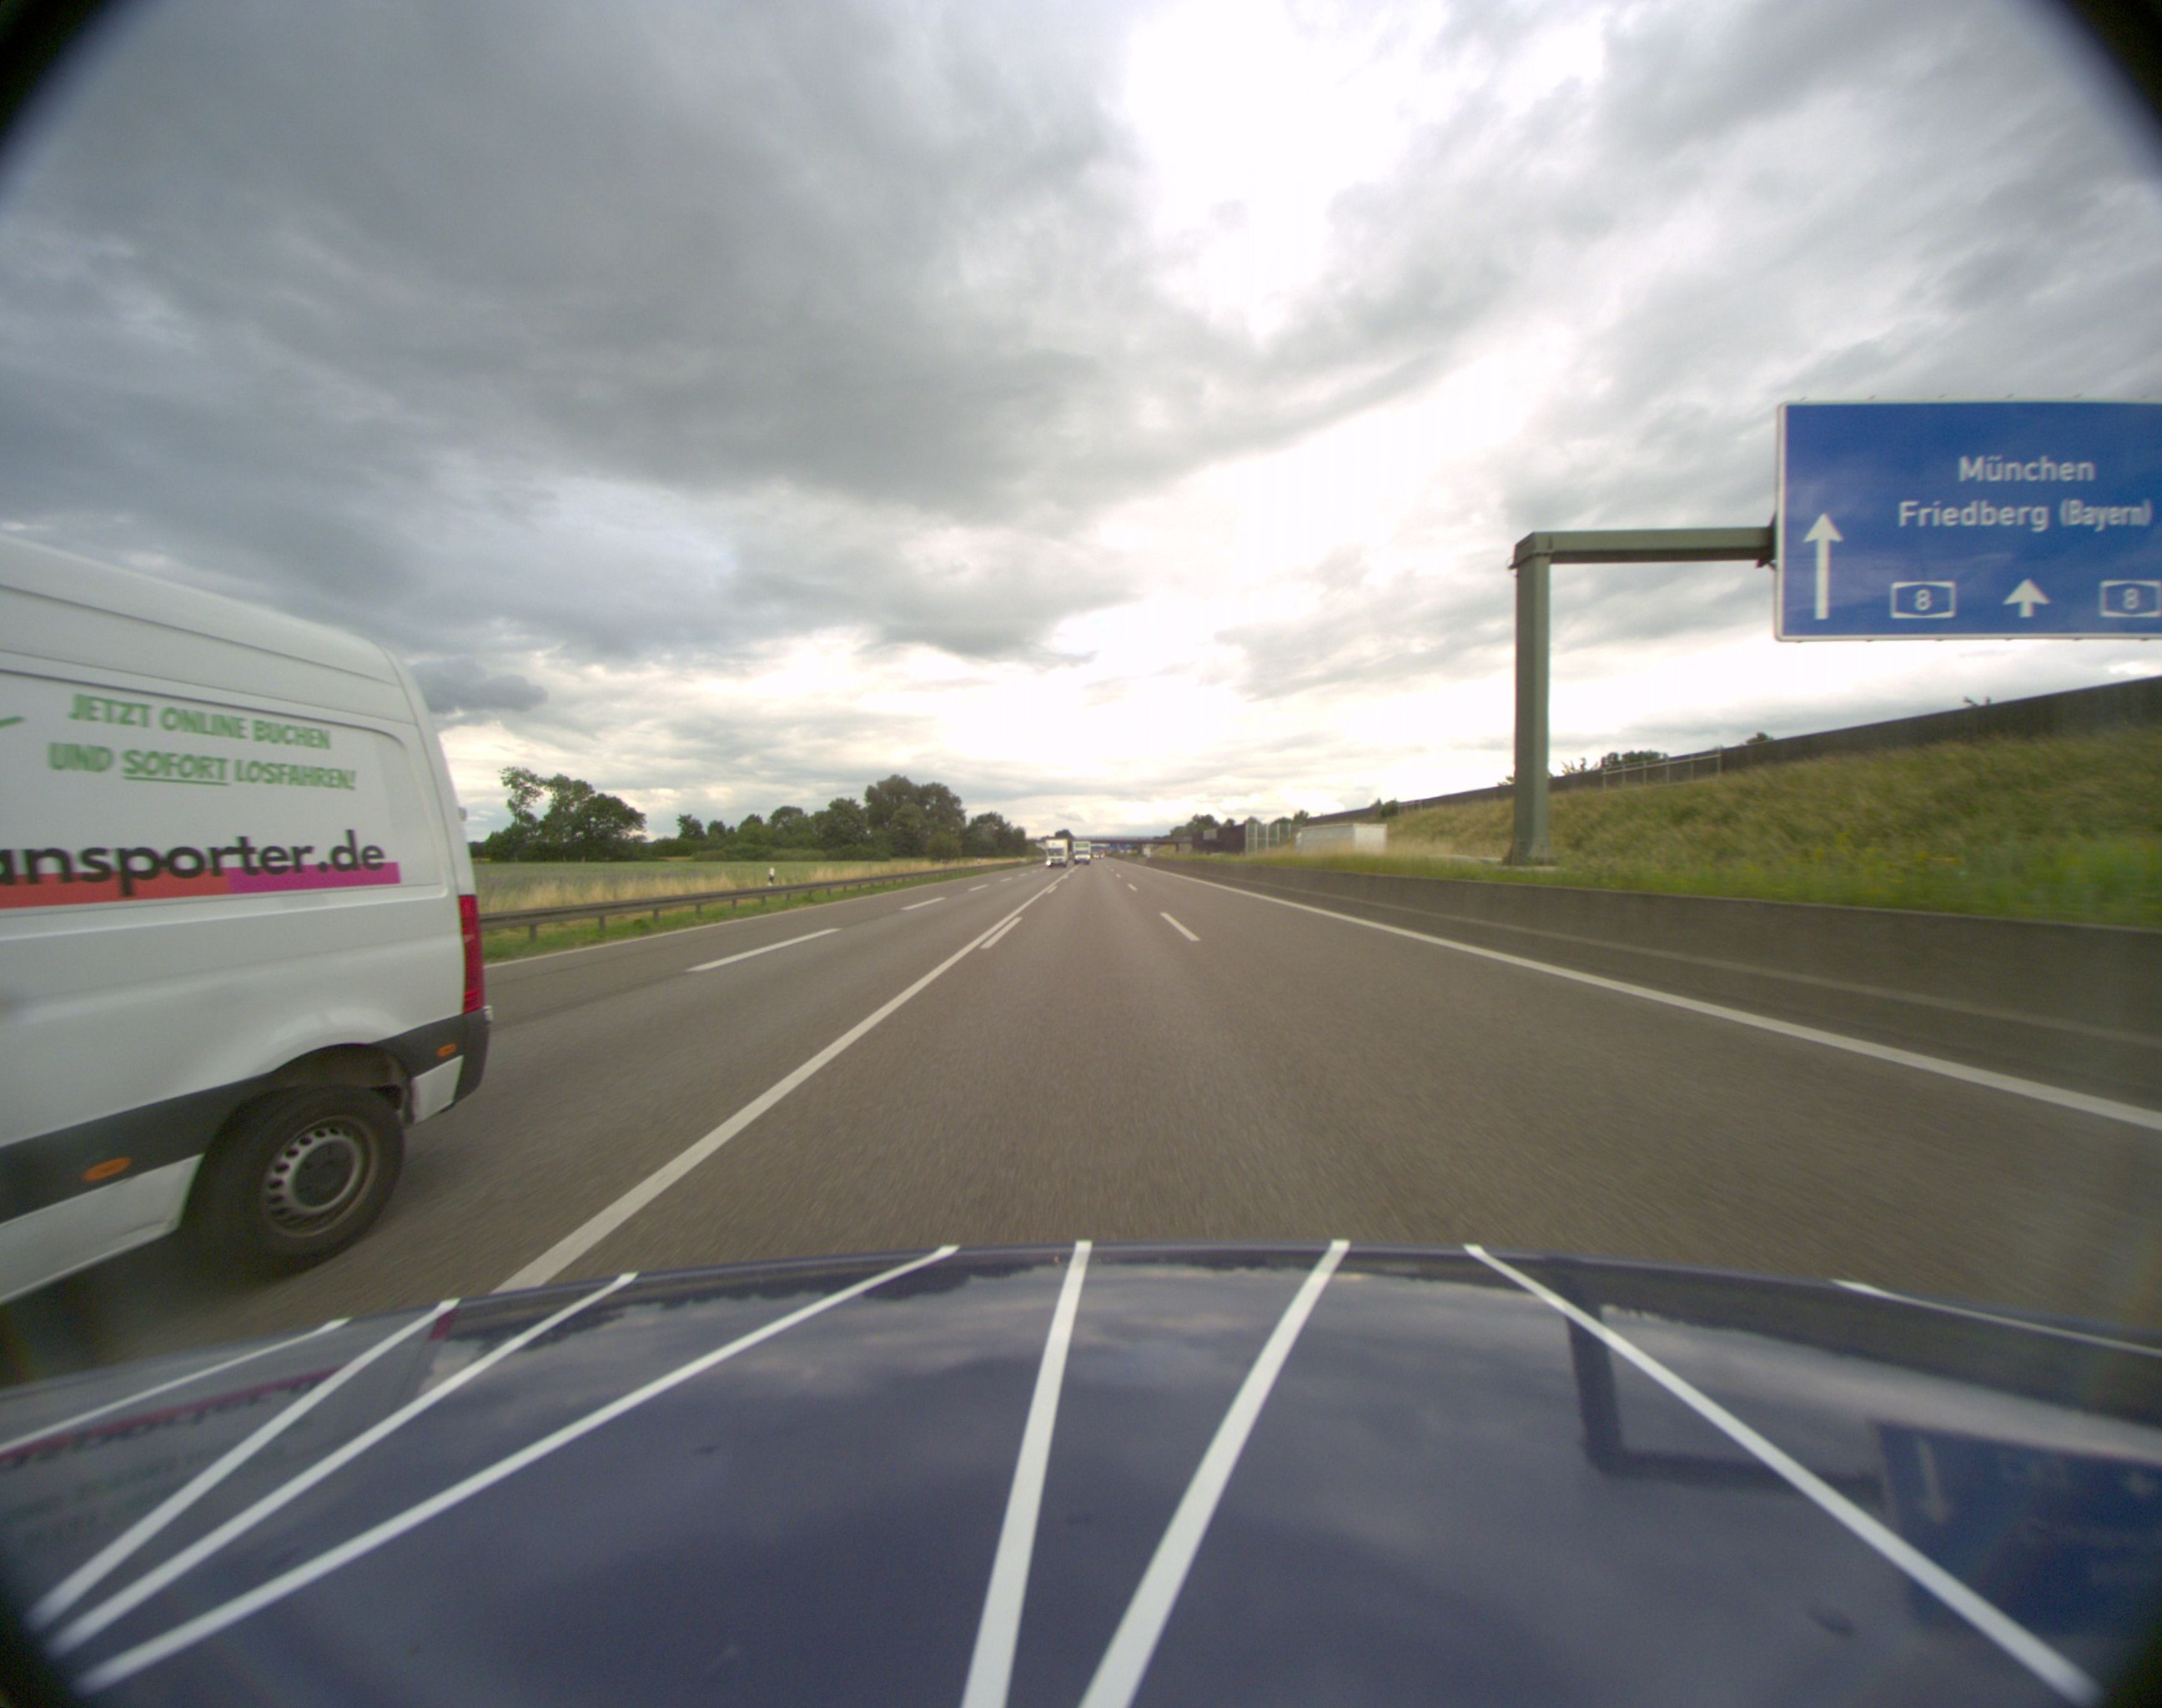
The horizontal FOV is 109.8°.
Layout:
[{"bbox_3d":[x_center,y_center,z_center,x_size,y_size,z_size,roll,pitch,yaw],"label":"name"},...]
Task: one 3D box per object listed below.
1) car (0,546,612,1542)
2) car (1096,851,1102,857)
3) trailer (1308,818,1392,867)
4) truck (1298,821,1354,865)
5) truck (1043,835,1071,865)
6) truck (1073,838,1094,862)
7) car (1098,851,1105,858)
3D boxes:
[{"bbox_3d":[-3.908,0.500,1.250,2.226,2.553,6.256,-1,0,1],"label":"car"},{"bbox_3d":[5.831,0.066,250.344,1.998,2.002,4.000,0,0,1],"label":"car"},{"bbox_3d":[21.810,-0.895,62.534,2.783,3.656,12.264,0,0,1],"label":"trailer"},{"bbox_3d":[21.904,-0.941,68.250,2.733,3.656,7.489,0,0,1],"label":"truck"},{"bbox_3d":[-2.928,-0.530,95.269,3.112,3.450,8.890,-2,0,0],"label":"truck"},{"bbox_3d":[0.445,-0.555,114.596,2.777,3.484,9.062,-2,0,1],"label":"truck"},{"bbox_3d":[5.819,0.198,219.615,1.998,2.002,4.000,0,0,1],"label":"car"}]
